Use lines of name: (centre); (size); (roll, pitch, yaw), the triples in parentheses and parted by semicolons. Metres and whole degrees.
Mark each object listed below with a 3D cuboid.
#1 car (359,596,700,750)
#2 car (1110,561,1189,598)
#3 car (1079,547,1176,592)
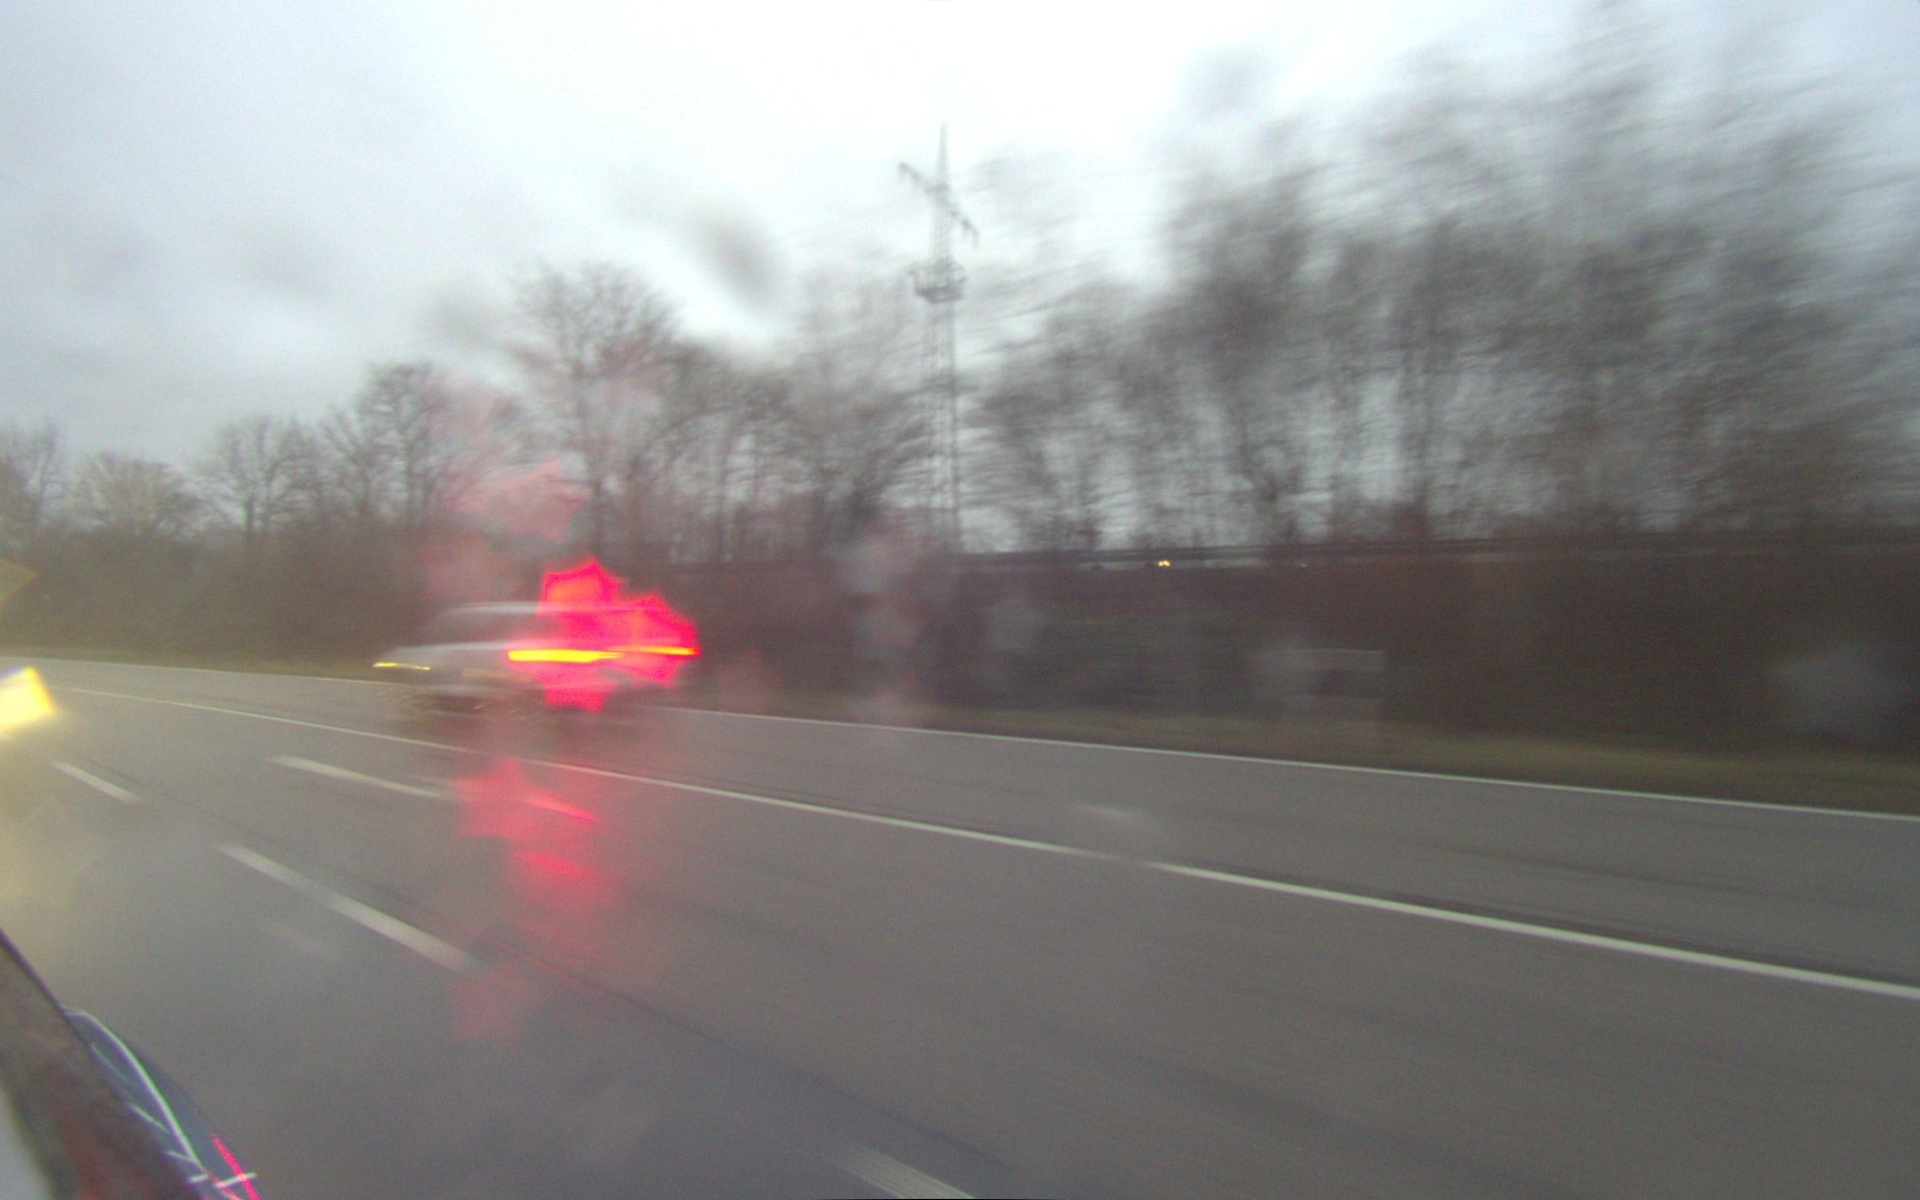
car: (-5.701, 0.821, 13.163); (4.713, 1.661, 1.976); (-1, -1, 36)
car: (10.533, -1.126, 56.175); (3.981, 1.918, 1.708); (-1, 0, 28)
car: (8.093, -1.461, 48.869); (4.211, 2.029, 1.980); (-1, 1, 29)
